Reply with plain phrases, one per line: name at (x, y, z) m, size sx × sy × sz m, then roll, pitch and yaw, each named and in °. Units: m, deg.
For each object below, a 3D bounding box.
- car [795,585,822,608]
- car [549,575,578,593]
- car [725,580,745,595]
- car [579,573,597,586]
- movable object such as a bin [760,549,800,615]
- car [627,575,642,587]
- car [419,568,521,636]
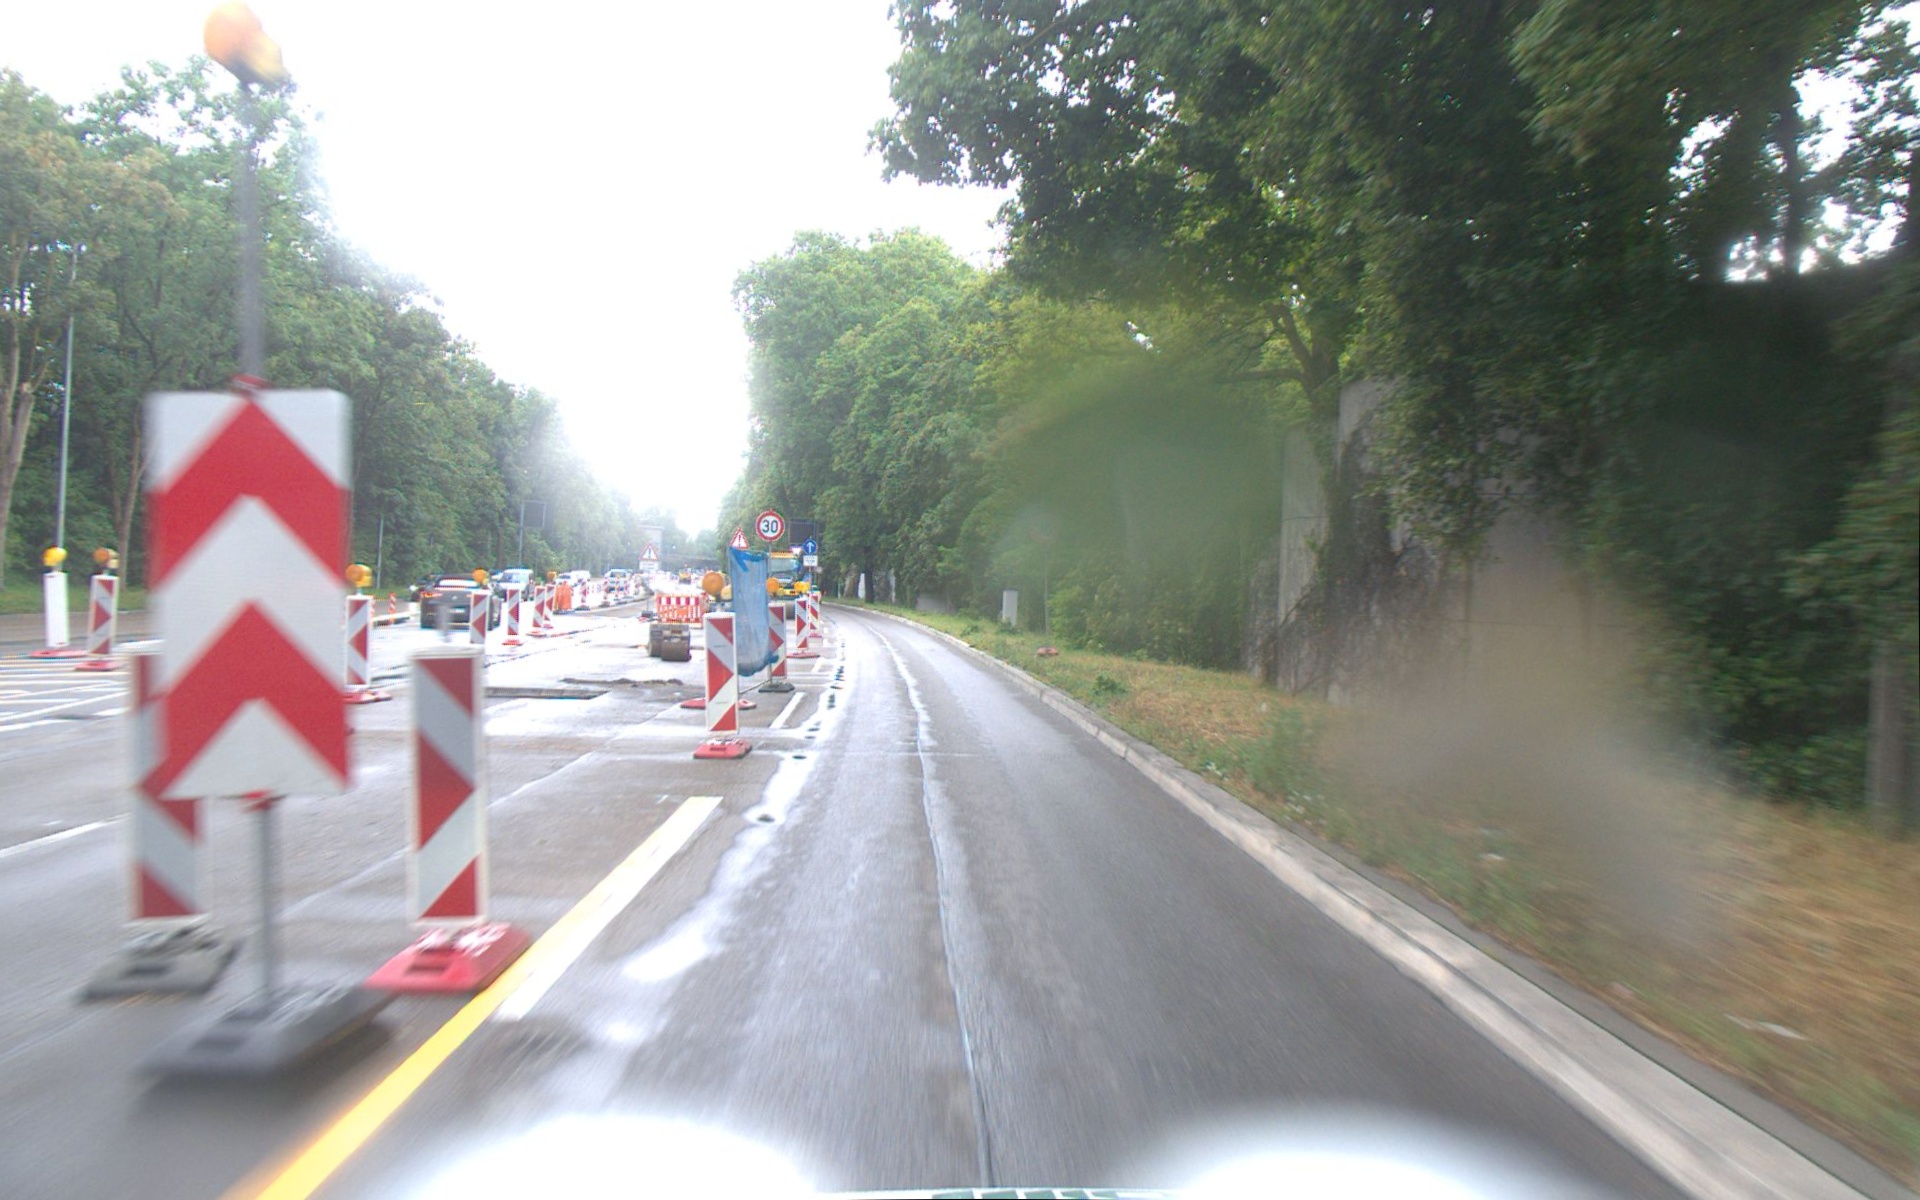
car at (-11.722, -0.286, 127.985) m, size 1.876 × 1.625 × 4.830 m, roll 3°, pitch 1°, yaw -4°
car at (-37.944, -1.522, 158.310) m, size 1.889 × 1.694 × 4.649 m, roll 1°, pitch 0°, yaw -4°
car at (-26.299, -1.479, 193.421) m, size 1.838 × 1.645 × 3.997 m, roll 5°, pitch 1°, yaw -4°
car at (-49.399, -2.764, 219.498) m, size 1.891 × 1.694 × 4.644 m, roll 1°, pitch 0°, yaw -8°
movable object such as a bin at (-8.289, -0.815, 76.249) m, size 1.712 × 2.917 × 3.530 m, roll 1°, pitch 0°, yaw -5°
car at (-44.294, -2.575, 225.210) m, size 1.541 × 1.482 × 3.364 m, roll 4°, pitch 1°, yaw -17°
car at (-13.073, 0.011, 44.355) m, size 1.826 × 1.517 × 3.997 m, roll 3°, pitch 3°, yaw -6°
